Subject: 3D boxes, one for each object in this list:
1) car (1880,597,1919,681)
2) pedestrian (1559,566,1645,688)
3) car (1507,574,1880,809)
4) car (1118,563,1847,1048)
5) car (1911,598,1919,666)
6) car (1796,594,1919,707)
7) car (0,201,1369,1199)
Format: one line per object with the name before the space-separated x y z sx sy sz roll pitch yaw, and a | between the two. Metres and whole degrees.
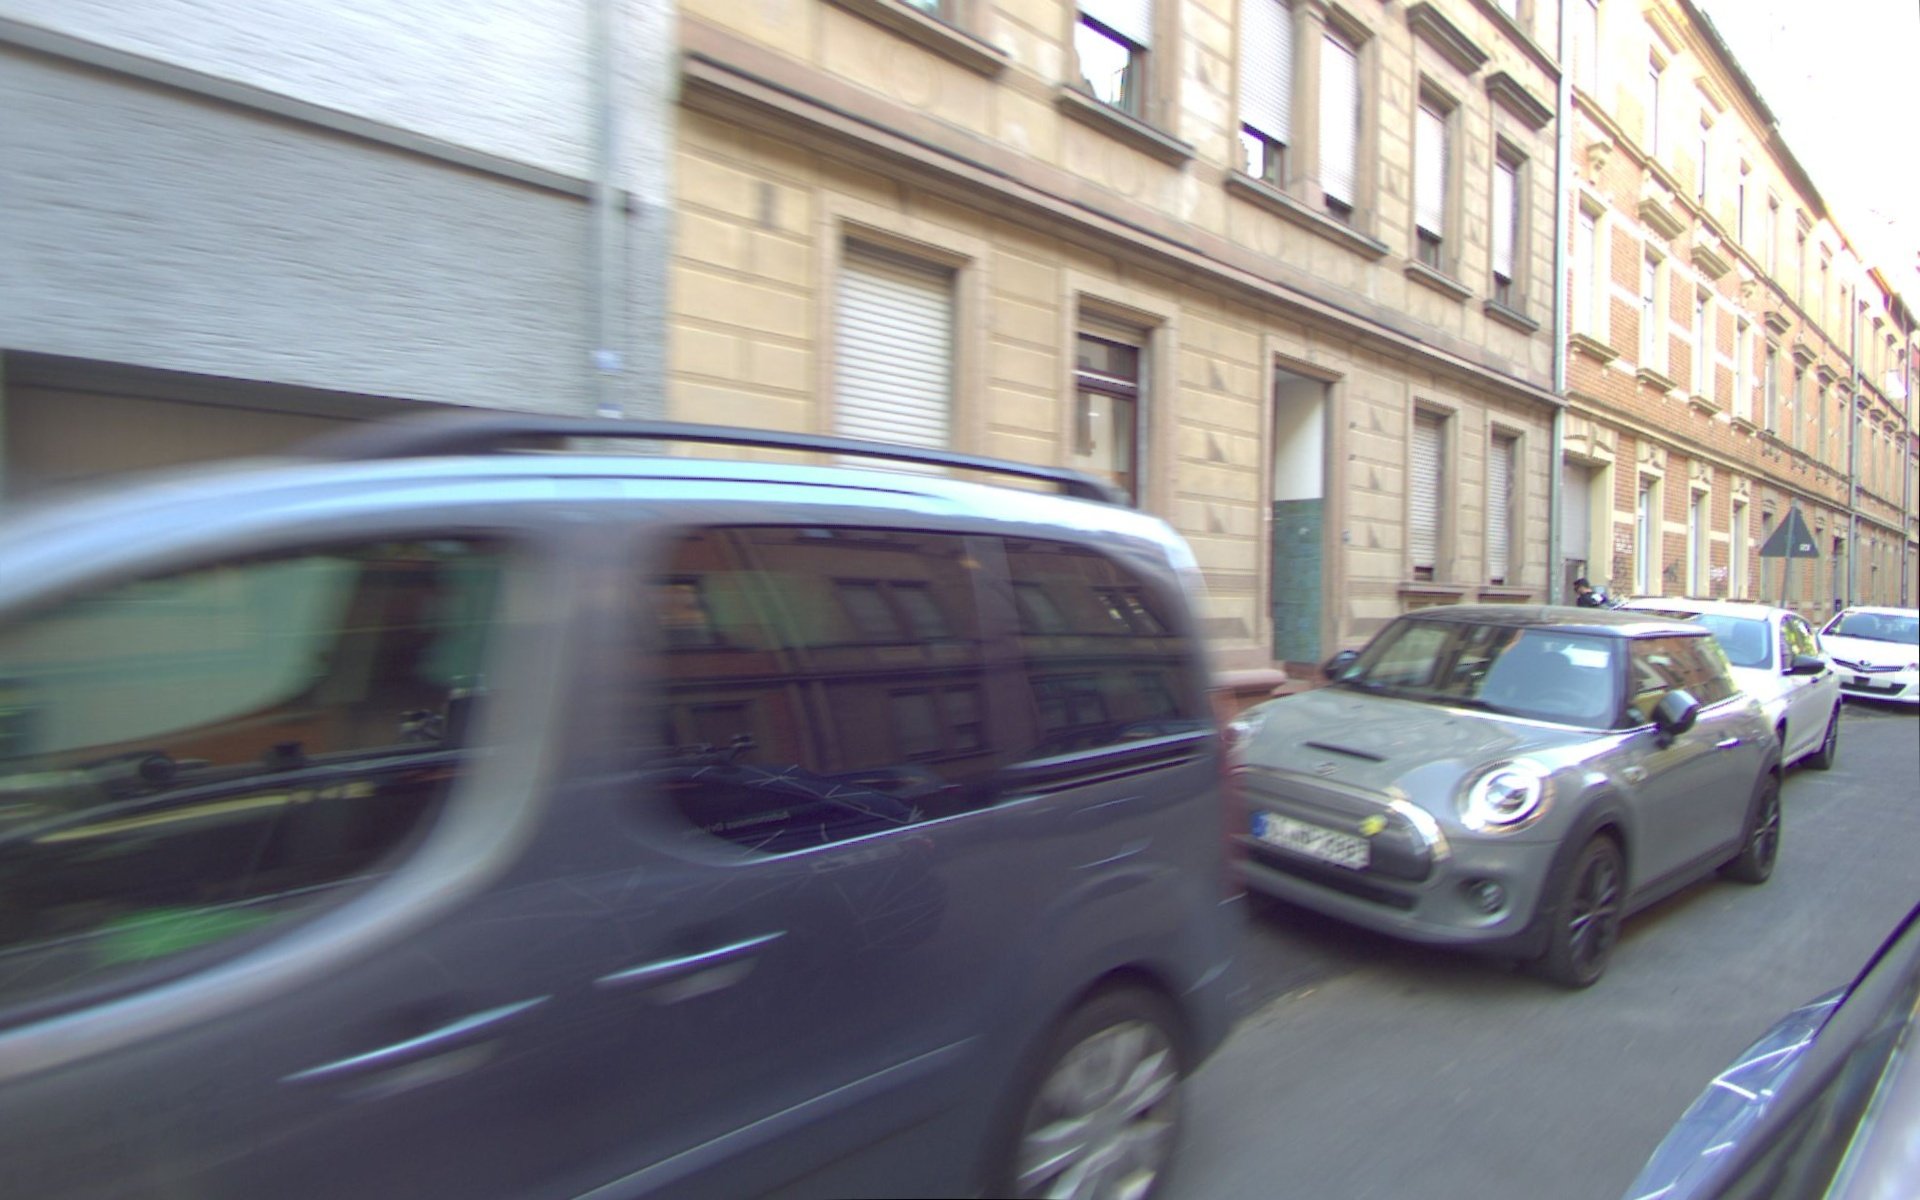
car | 18.822 0.738 19.069 3.999 1.463 1.757 0 4 -42
pedestrian | 9.070 0.354 14.333 0.644 1.650 0.879 2 2 8
car | 6.843 0.647 9.250 4.366 1.536 1.758 1 5 -42
car | 2.949 0.674 5.286 4.210 1.470 1.759 1 5 -39
car | 22.302 0.768 22.173 4.023 1.434 1.729 1 5 -42
car | 14.908 0.744 16.137 4.011 1.498 1.725 0 5 -41
car | -1.271 0.469 1.867 4.640 1.808 1.758 1 3 -41
